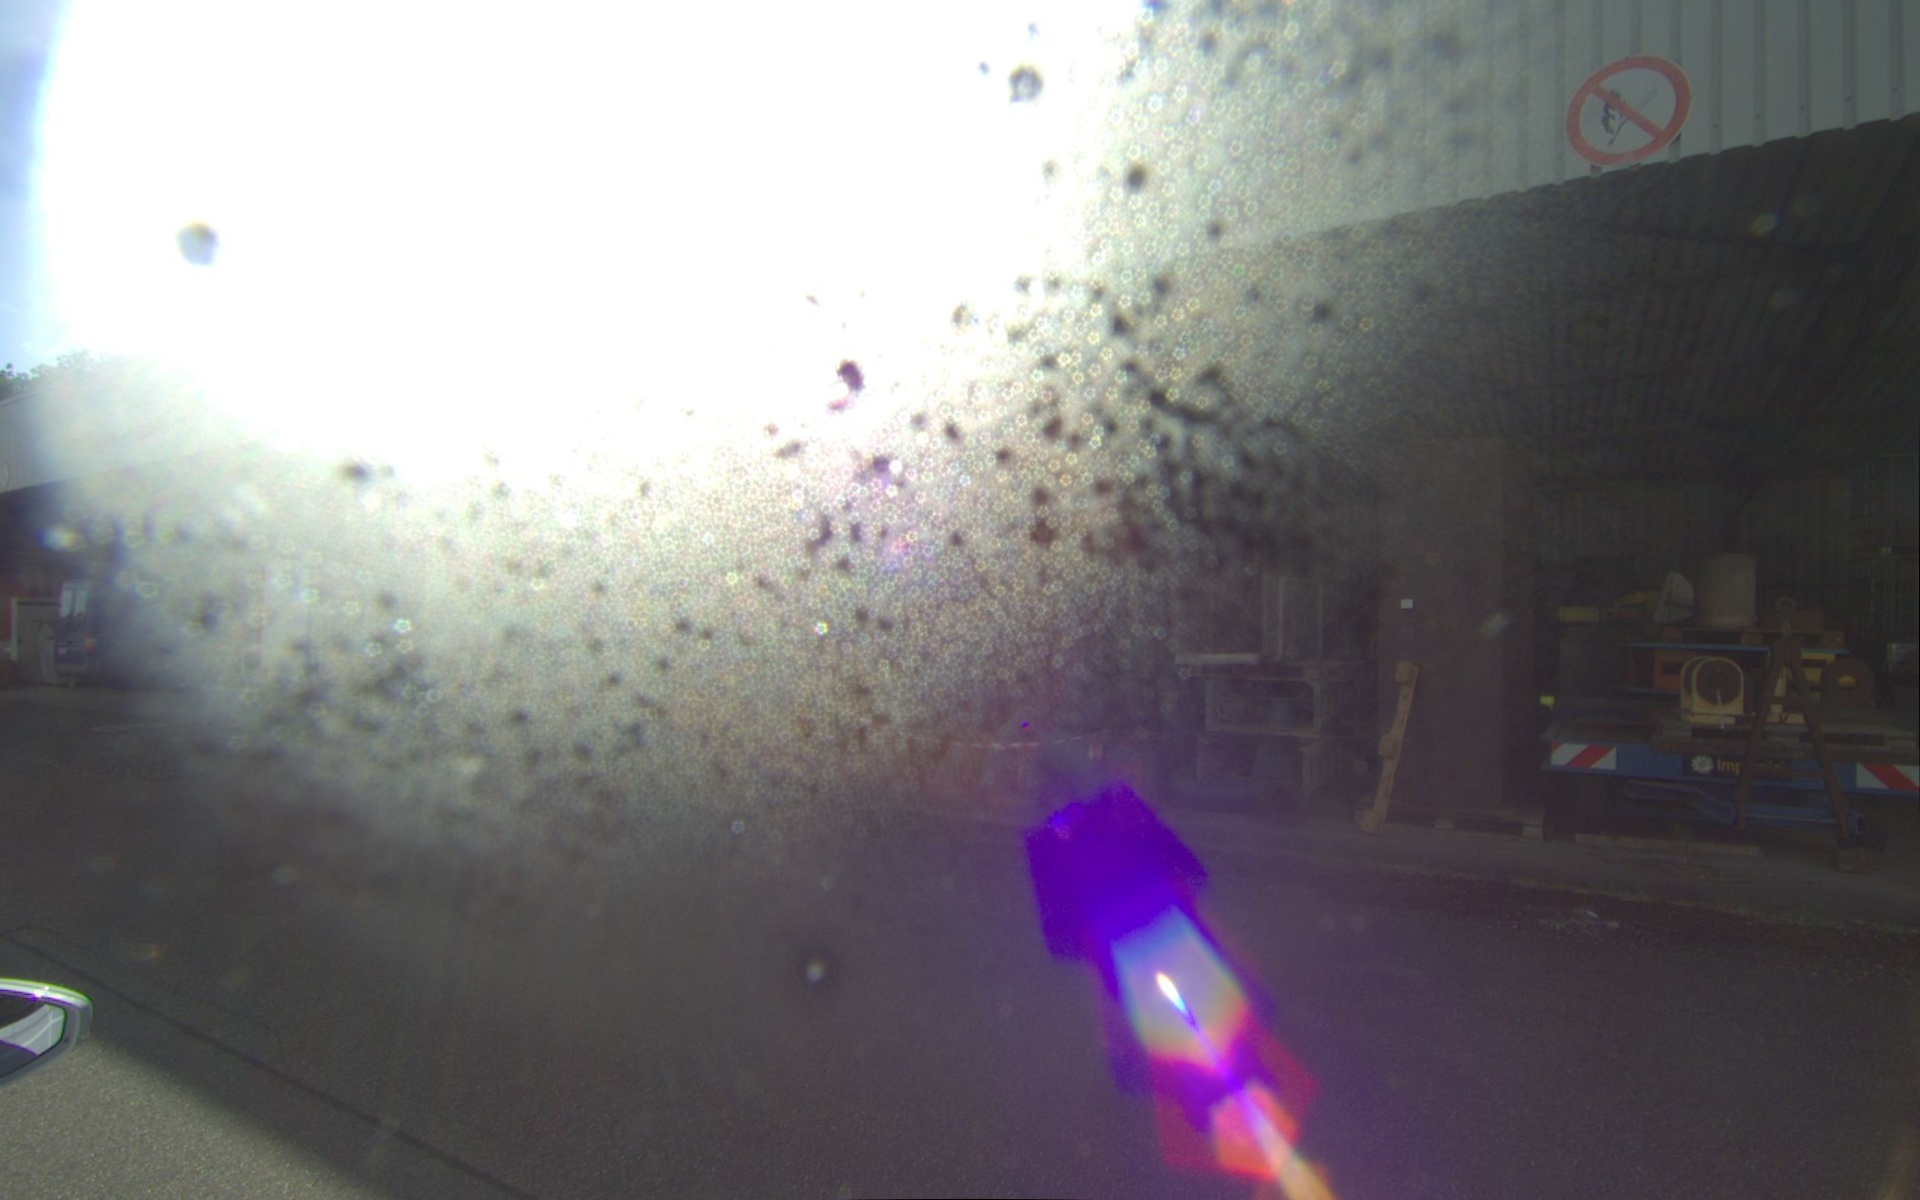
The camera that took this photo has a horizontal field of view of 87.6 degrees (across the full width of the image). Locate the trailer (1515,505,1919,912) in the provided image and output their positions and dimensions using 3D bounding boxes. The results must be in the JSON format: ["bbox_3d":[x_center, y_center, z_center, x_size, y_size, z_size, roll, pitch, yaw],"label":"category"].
[{"bbox_3d":[5.386,0.591,7.201,2.133,2.016,4.413,-1,-1,33],"label":"trailer"}]

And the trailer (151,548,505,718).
[{"bbox_3d":[-10.140,0.517,16.435,2.018,2.372,4.507,-1,-1,33],"label":"trailer"}]

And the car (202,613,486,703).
[{"bbox_3d":[-11.504,1.045,19.031,1.841,1.490,4.246,0,-2,29],"label":"car"}]

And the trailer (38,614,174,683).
[{"bbox_3d":[-19.426,1.065,22.801,1.715,1.485,2.032,0,-1,36],"label":"trailer"}]

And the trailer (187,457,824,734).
[{"bbox_3d":[-6.709,0.052,17.315,2.761,3.386,10.250,0,-1,32],"label":"trailer"}]

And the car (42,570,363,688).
[{"bbox_3d":[-16.656,0.680,22.389,2.121,2.310,5.326,-1,-2,31],"label":"car"}]

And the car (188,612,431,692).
[{"bbox_3d":[-13.674,1.081,21.306,1.812,1.533,3.962,-1,-2,29],"label":"car"}]
